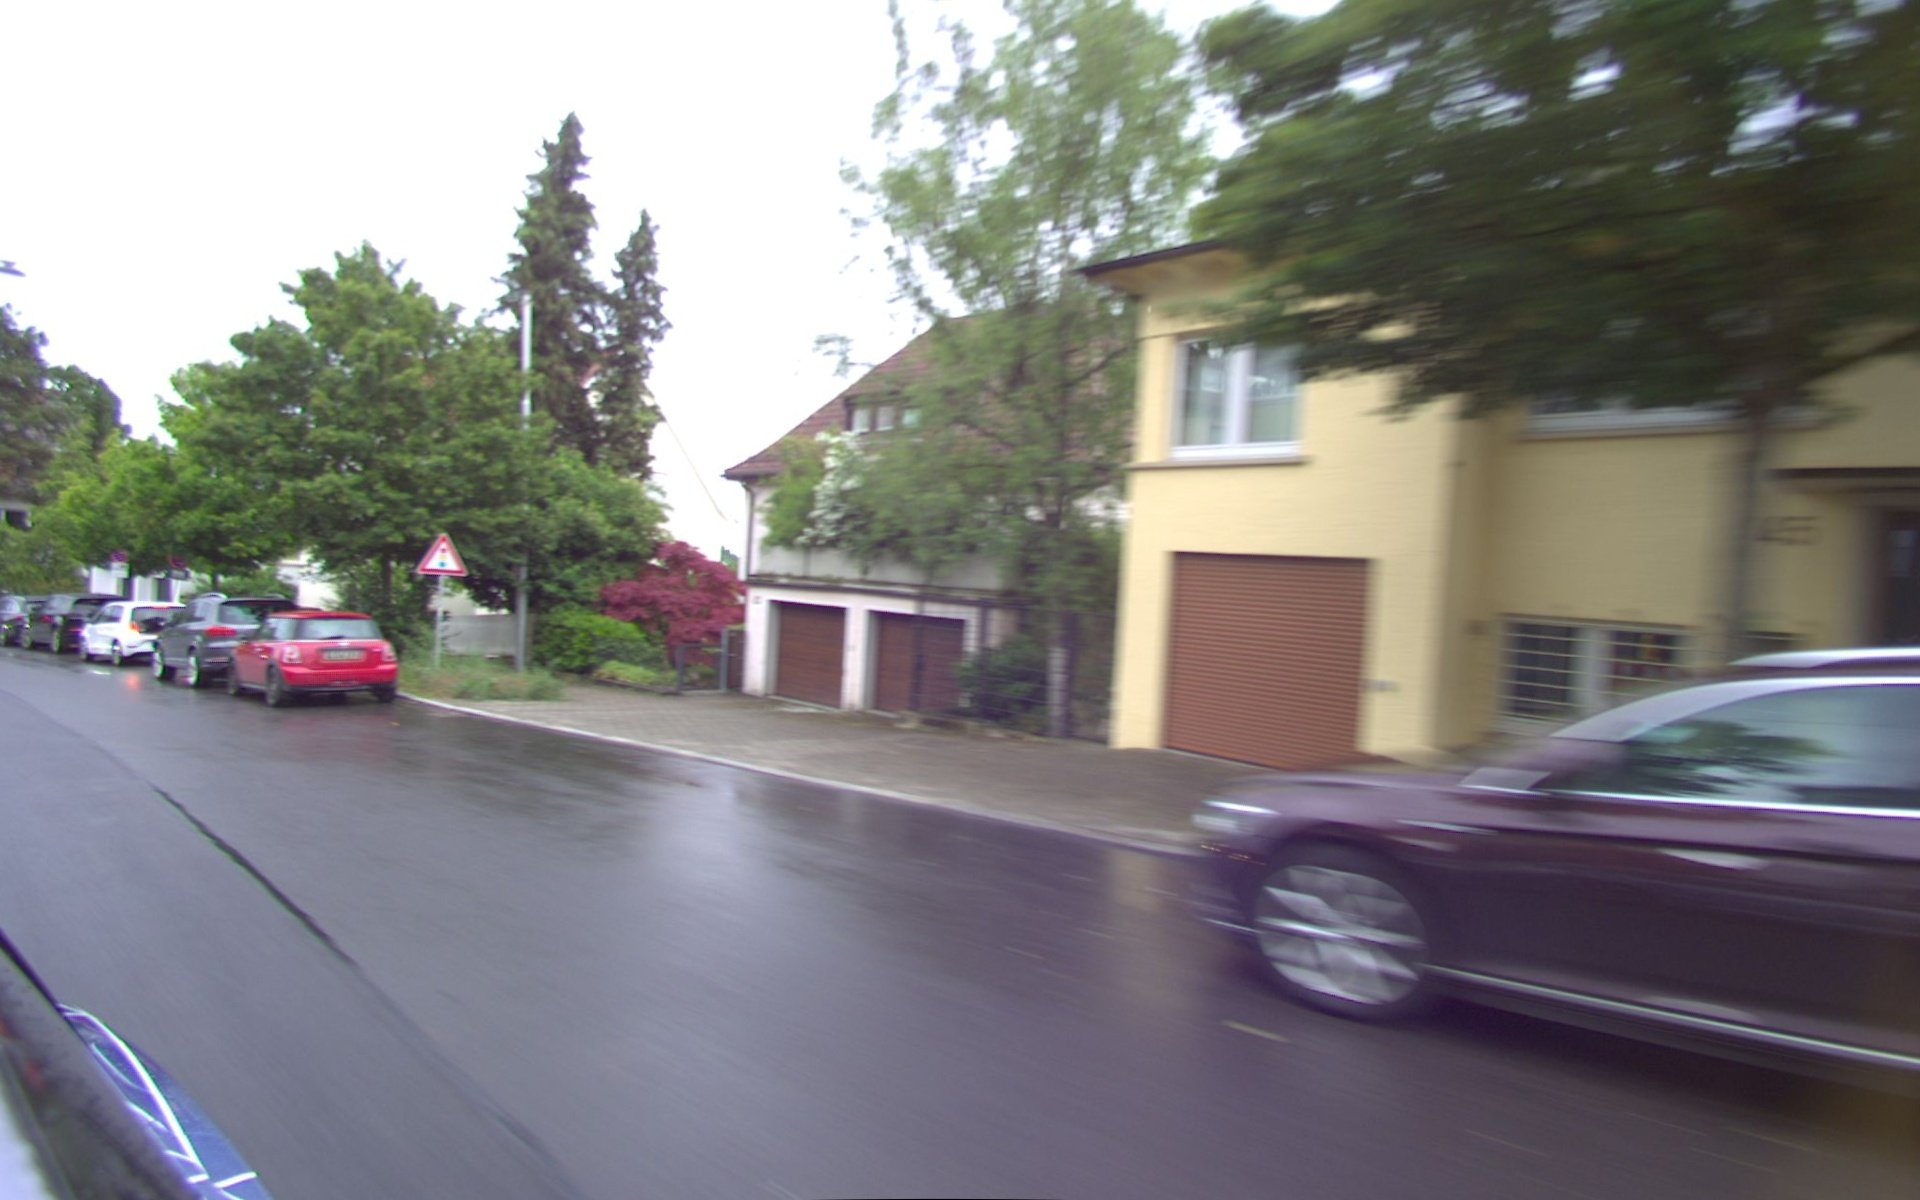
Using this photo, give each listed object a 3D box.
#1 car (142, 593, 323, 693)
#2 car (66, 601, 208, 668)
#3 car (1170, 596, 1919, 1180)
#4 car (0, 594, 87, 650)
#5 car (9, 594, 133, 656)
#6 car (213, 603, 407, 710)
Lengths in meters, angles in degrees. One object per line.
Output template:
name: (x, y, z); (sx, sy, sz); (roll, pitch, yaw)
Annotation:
car: (-13.938, 0.738, 19.288); (4.423, 1.681, 1.782); (0, -1, 41)
car: (-20.083, 0.767, 24.654); (3.992, 1.477, 1.718); (0, 1, 36)
car: (3.164, 0.801, 3.332); (4.606, 1.547, 1.748); (-1, -3, 43)
car: (-28.810, 0.612, 31.018); (4.891, 1.557, 1.852); (1, 1, 34)
car: (-24.816, 0.642, 28.209); (4.202, 1.557, 1.718); (1, 1, 36)
car: (-10.483, 0.823, 16.211); (3.865, 1.483, 1.664); (0, -1, 42)
